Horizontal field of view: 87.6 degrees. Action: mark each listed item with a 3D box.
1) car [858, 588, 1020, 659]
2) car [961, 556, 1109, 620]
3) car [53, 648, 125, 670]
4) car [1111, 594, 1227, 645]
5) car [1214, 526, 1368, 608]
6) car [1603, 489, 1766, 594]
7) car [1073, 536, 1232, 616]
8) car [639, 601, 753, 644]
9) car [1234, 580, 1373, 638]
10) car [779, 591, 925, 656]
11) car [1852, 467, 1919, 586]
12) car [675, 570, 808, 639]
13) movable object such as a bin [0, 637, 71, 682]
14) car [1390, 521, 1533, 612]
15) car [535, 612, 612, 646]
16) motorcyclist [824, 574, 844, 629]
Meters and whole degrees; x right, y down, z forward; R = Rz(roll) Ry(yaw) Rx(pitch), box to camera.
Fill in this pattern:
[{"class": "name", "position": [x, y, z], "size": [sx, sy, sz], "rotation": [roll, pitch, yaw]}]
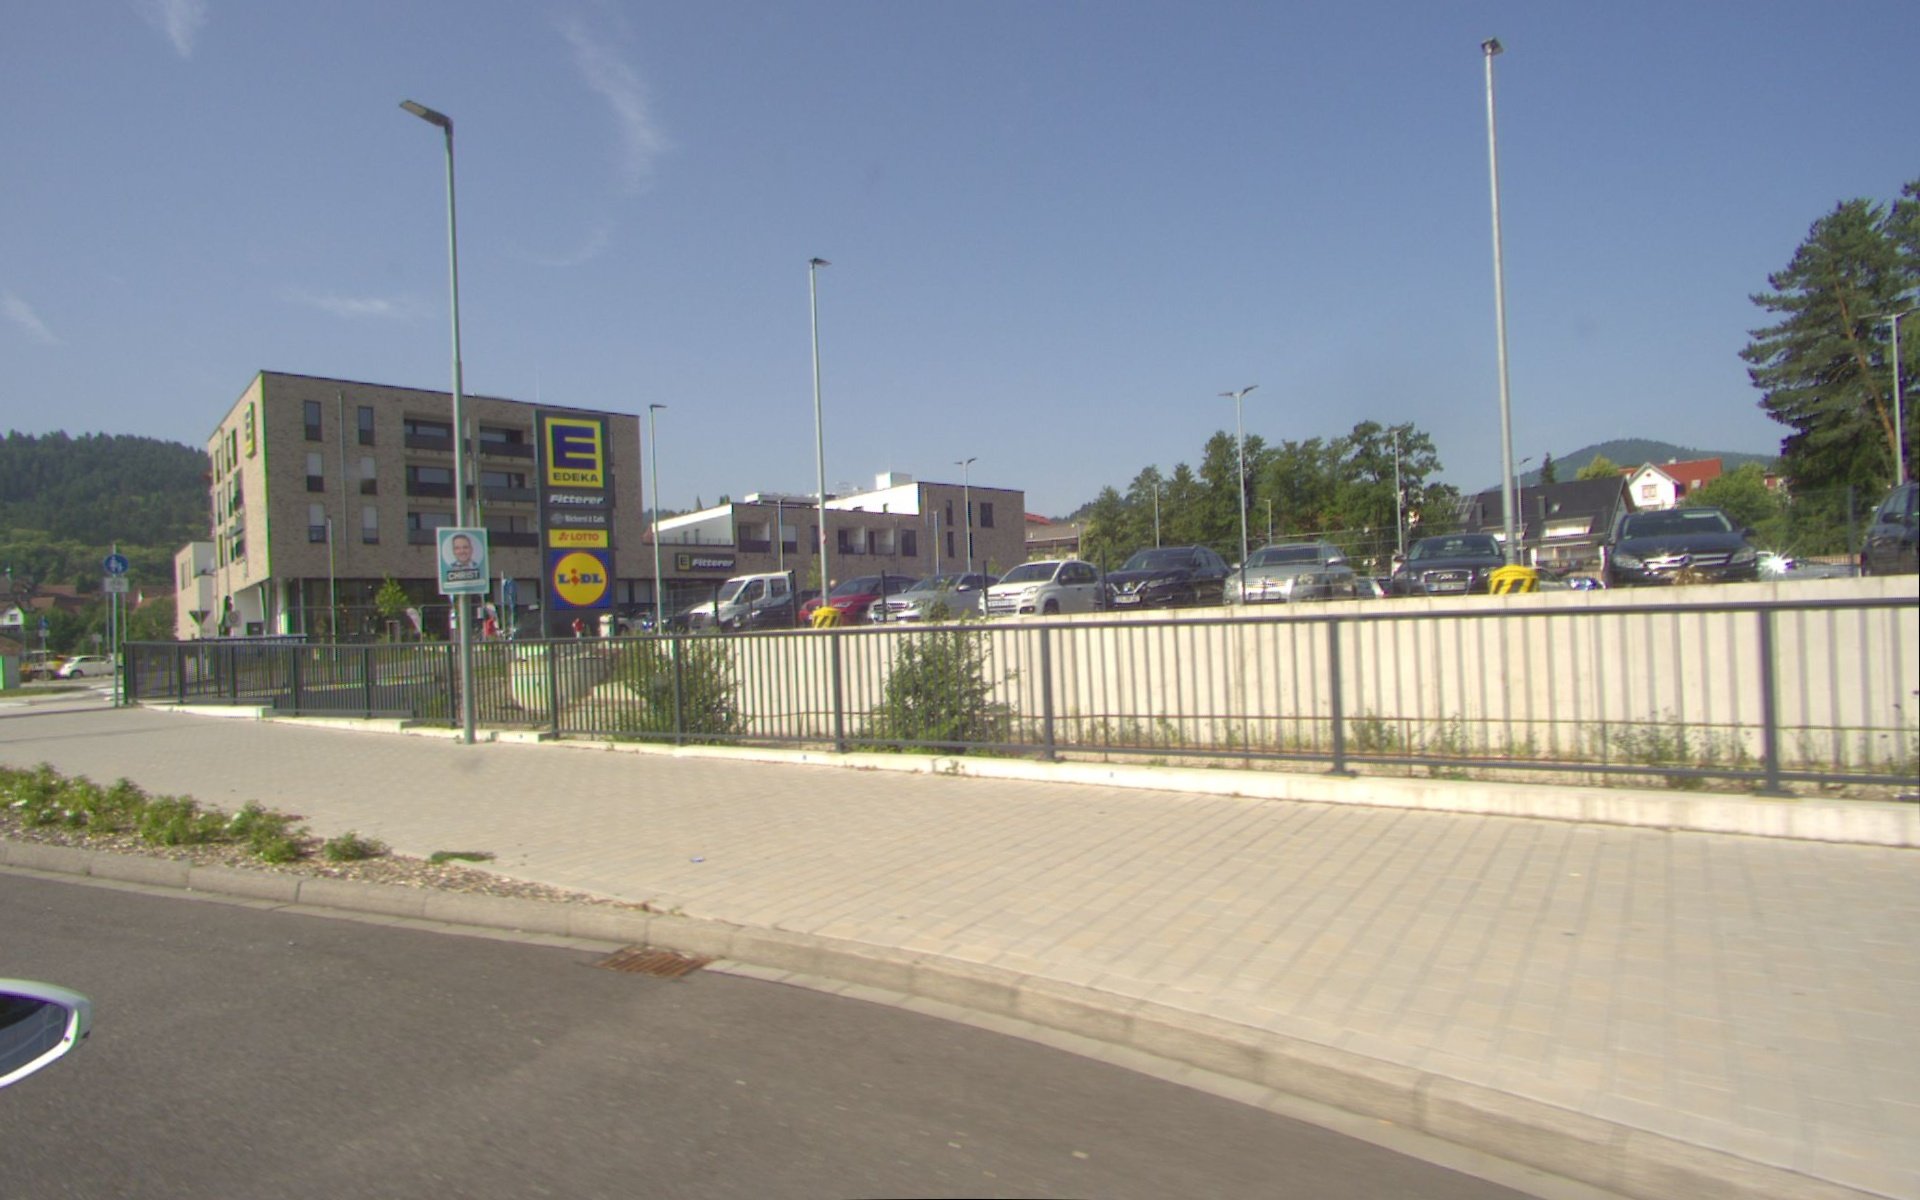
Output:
[{"class": "car", "position": [-0.392, 0.532, 23.403], "size": [1.694, 1.506, 4.043], "rotation": [-2, -1, 35]}, {"class": "car", "position": [1.696, -0.223, 21.634], "size": [1.691, 1.215, 3.547], "rotation": [-2, -1, 33]}, {"class": "car", "position": [-59.443, 4.033, 68.369], "size": [1.449, 1.320, 3.464], "rotation": [-2, -1, 35]}, {"class": "car", "position": [7.447, 0.721, 35.889], "size": [3.737, 1.630, 1.593], "rotation": [-4, -1, 43]}, {"class": "car", "position": [6.133, -0.523, 18.265], "size": [1.641, 1.262, 4.269], "rotation": [-2, -1, 33]}, {"class": "car", "position": [10.811, -0.775, 15.199], "size": [1.720, 1.262, 4.204], "rotation": [-2, -1, 33]}, {"class": "car", "position": [3.859, -0.410, 19.560], "size": [1.637, 1.360, 4.027], "rotation": [-2, -1, 33]}, {"class": "car", "position": [-10.341, 0.883, 39.265], "size": [3.947, 1.466, 1.667], "rotation": [-2, -1, -34]}, {"class": "car", "position": [11.051, 0.315, 32.345], "size": [3.878, 1.630, 1.593], "rotation": [-4, -1, 43]}, {"class": "car", "position": [-2.577, 0.557, 24.568], "size": [1.687, 1.448, 3.547], "rotation": [-2, -1, 33]}, {"class": "car", "position": [13.584, -0.963, 13.472], "size": [1.701, 1.422, 3.996], "rotation": [-2, -1, 33]}, {"class": "car", "position": [-7.490, 0.135, 34.416], "size": [3.949, 2.163, 1.987], "rotation": [-2, -1, -36]}, {"class": "movable object such as a bin", "position": [-42.507, 2.721, 45.906], "size": [1.413, 1.867, 2.430], "rotation": [-4, -1, 42]}, {"class": "car", "position": [8.408, -0.478, 16.616], "size": [1.706, 1.262, 3.957], "rotation": [-2, -1, 33]}, {"class": "car", "position": [-20.608, 1.547, 53.480], "size": [3.464, 1.614, 1.473], "rotation": [-2, -1, -44]}, {"class": "motorcyclist", "position": [-3.649, 0.047, 29.000], "size": [0.423, 1.552, 0.454], "rotation": [-3, 0, 0]}]
